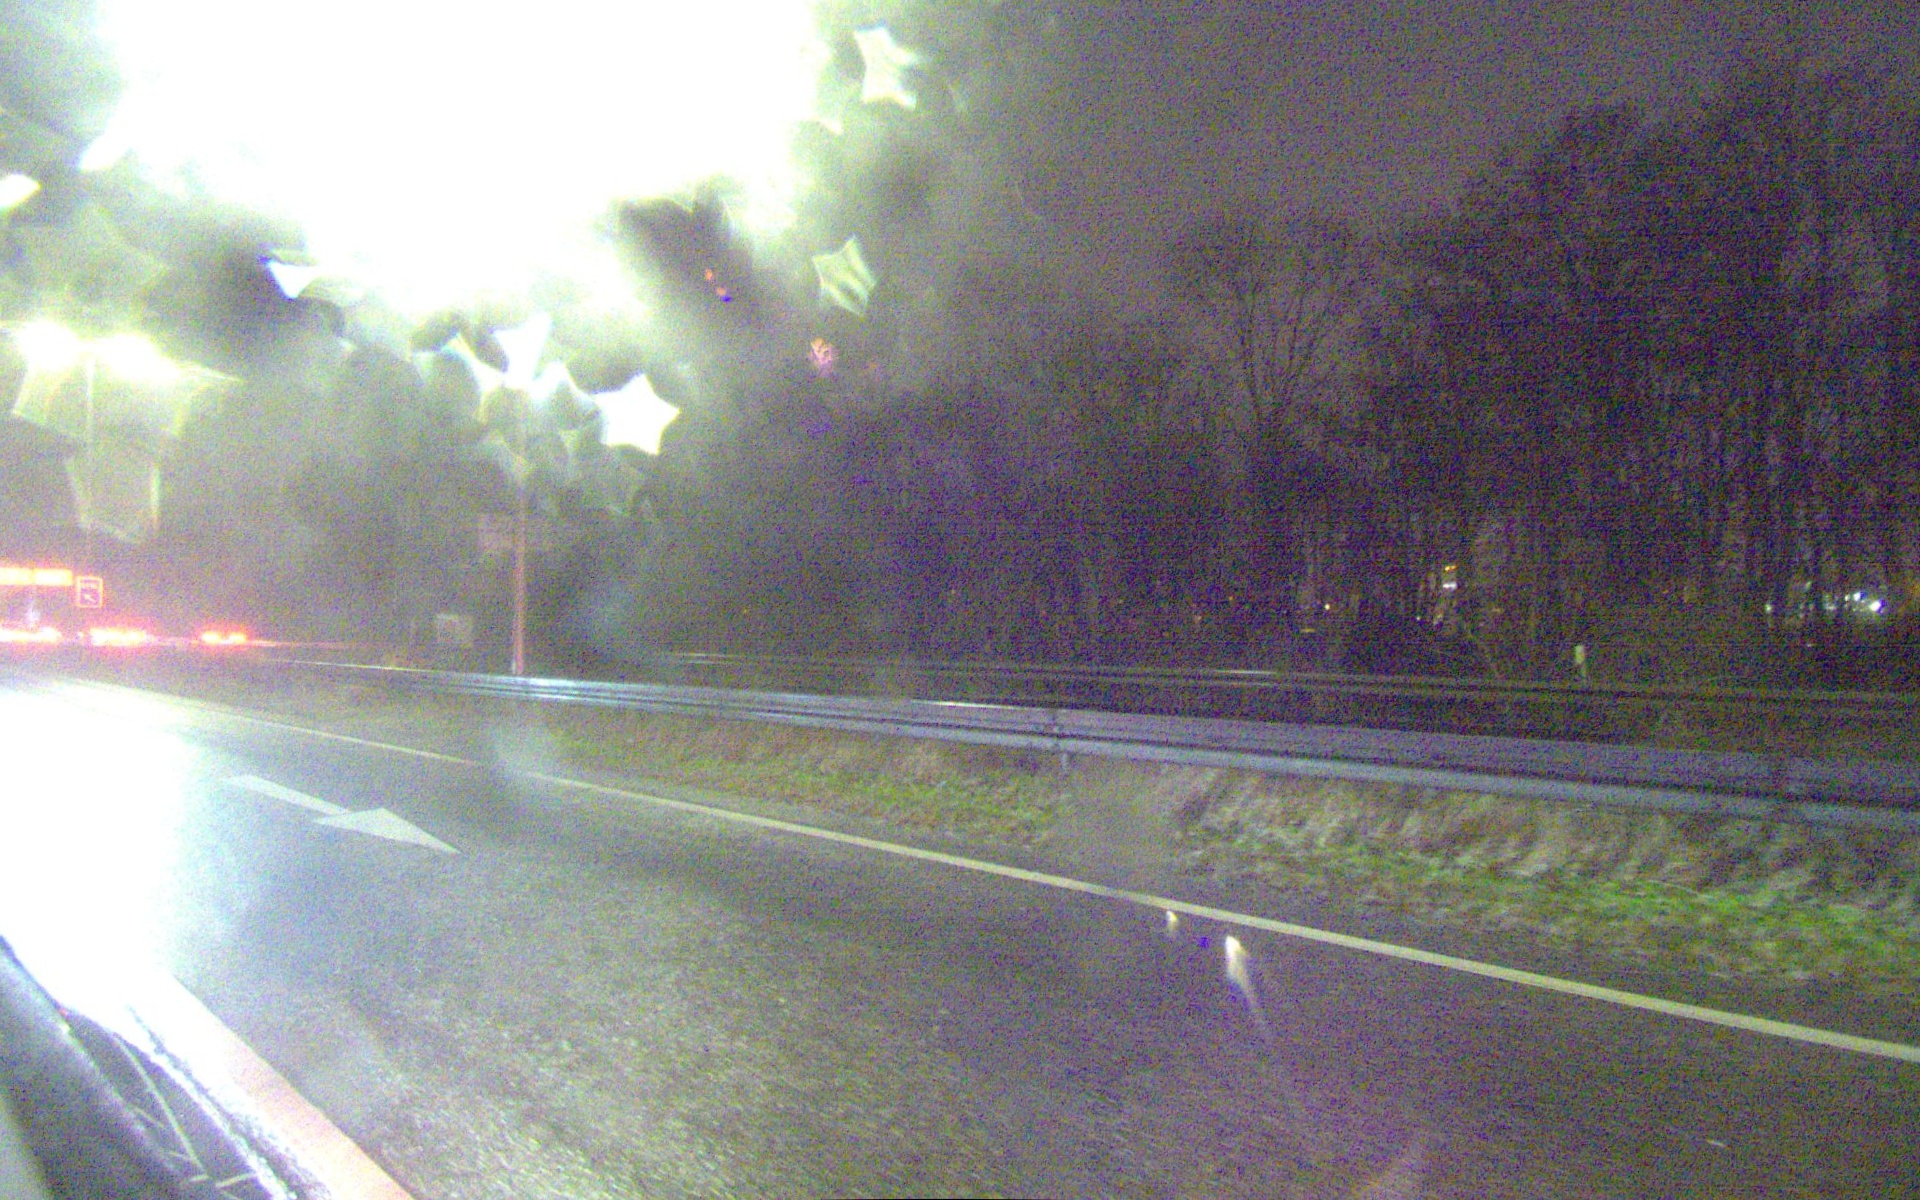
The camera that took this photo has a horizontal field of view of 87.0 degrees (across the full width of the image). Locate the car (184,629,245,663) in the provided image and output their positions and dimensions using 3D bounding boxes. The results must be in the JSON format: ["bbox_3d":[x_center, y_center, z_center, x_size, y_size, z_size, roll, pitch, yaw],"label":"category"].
[{"bbox_3d":[-38.947,2.381,52.848,4.000,1.660,1.842,-2,-1,43],"label":"car"}]

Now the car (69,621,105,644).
[{"bbox_3d":[-79.868,2.972,92.536,3.998,2.029,1.973,-2,-1,41],"label":"car"}]

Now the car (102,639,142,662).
[{"bbox_3d":[-63.909,3.838,77.168,3.999,1.660,1.793,-2,-1,42],"label":"car"}]

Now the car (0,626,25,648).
[{"bbox_3d":[-72.487,2.808,76.789,3.995,1.660,1.766,-2,-1,39],"label":"car"}]

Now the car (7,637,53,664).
[{"bbox_3d":[-61.114,3.263,66.469,3.997,1.660,1.765,-2,-1,40],"label":"car"}]
